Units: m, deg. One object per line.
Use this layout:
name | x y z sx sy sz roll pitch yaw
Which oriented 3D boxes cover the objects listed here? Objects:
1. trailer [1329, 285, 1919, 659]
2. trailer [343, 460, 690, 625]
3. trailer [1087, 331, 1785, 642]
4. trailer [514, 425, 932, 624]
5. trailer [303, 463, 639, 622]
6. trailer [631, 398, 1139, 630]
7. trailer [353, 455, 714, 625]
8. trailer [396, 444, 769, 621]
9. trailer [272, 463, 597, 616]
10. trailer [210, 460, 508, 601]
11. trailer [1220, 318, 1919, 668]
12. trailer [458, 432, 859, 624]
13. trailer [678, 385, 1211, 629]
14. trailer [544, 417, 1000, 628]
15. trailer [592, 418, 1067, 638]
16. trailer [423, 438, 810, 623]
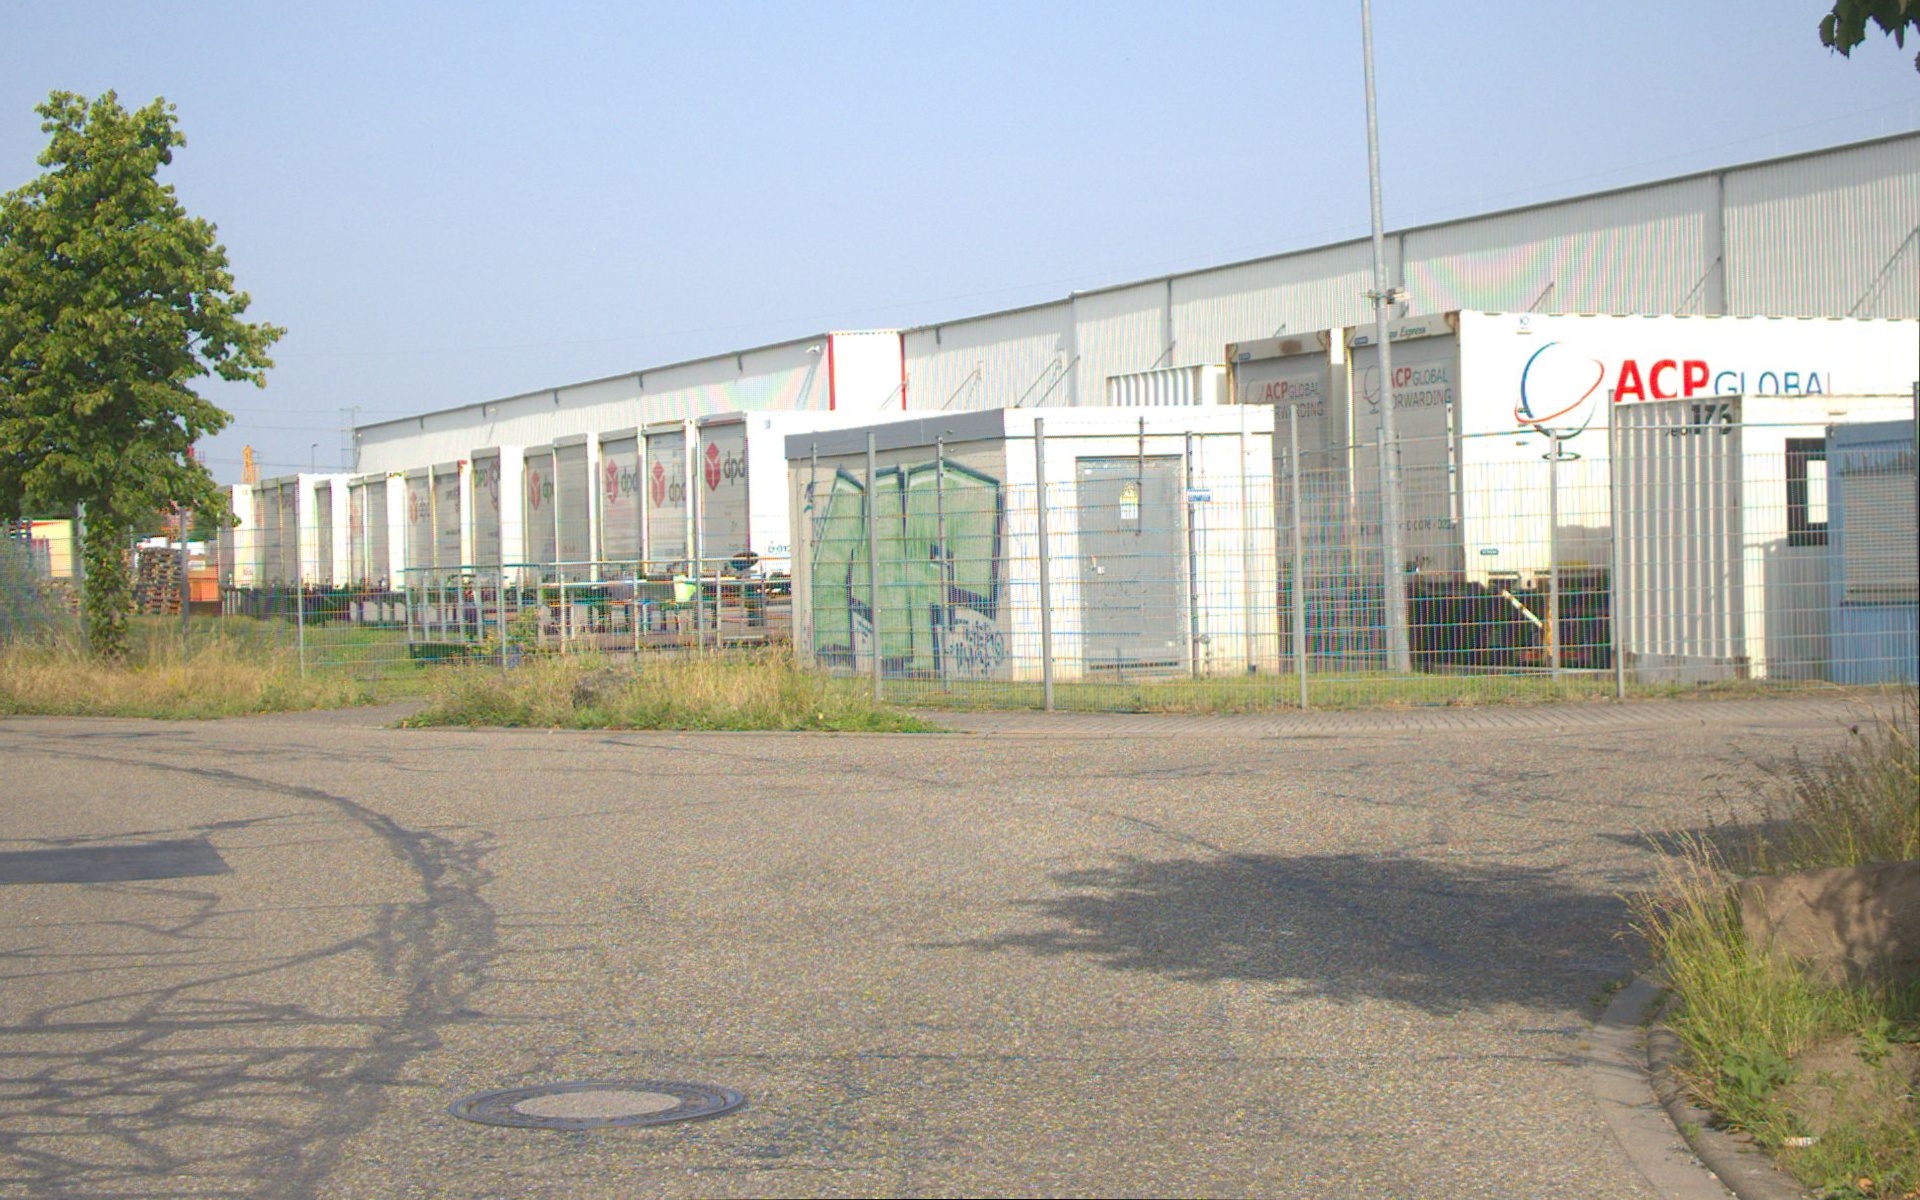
trailer | 8.694 -1.422 38.893 8.534 3.881 2.776 -1 -1 -22
trailer | -10.899 -1.379 84.553 7.960 3.880 2.776 0 1 -24
trailer | 6.209 -1.439 44.469 8.730 3.748 2.791 -1 0 -24
trailer | -4.823 -1.488 70.284 8.031 3.880 2.776 0 1 -24
trailer | -12.436 -1.426 87.495 7.960 3.880 2.776 0 1 -24
trailer | -1.290 -1.462 60.761 8.534 3.880 2.776 0 1 -24
trailer | -10.080 -1.384 81.359 7.960 3.880 2.776 0 1 -24
trailer | -8.615 -1.497 78.588 7.960 3.880 2.776 0 1 -24
trailer | -13.825 -1.555 90.497 7.960 3.880 2.776 0 1 -24
trailer | -17.256 -1.967 98.765 7.960 3.880 2.743 0 1 -24
trailer | 7.660 -1.347 41.716 8.534 3.880 2.776 -2 1 -22
trailer | -6.377 -1.486 72.859 7.960 3.880 2.776 0 1 -24
trailer | -0.227 -1.494 57.900 8.534 3.880 2.776 0 1 -24
trailer | -3.610 -1.446 66.491 8.305 3.880 2.776 0 1 -24
trailer | -2.393 -1.284 63.681 8.305 3.880 2.776 0 1 -24
trailer | -7.544 -1.481 75.625 7.960 3.880 2.776 0 1 -24
